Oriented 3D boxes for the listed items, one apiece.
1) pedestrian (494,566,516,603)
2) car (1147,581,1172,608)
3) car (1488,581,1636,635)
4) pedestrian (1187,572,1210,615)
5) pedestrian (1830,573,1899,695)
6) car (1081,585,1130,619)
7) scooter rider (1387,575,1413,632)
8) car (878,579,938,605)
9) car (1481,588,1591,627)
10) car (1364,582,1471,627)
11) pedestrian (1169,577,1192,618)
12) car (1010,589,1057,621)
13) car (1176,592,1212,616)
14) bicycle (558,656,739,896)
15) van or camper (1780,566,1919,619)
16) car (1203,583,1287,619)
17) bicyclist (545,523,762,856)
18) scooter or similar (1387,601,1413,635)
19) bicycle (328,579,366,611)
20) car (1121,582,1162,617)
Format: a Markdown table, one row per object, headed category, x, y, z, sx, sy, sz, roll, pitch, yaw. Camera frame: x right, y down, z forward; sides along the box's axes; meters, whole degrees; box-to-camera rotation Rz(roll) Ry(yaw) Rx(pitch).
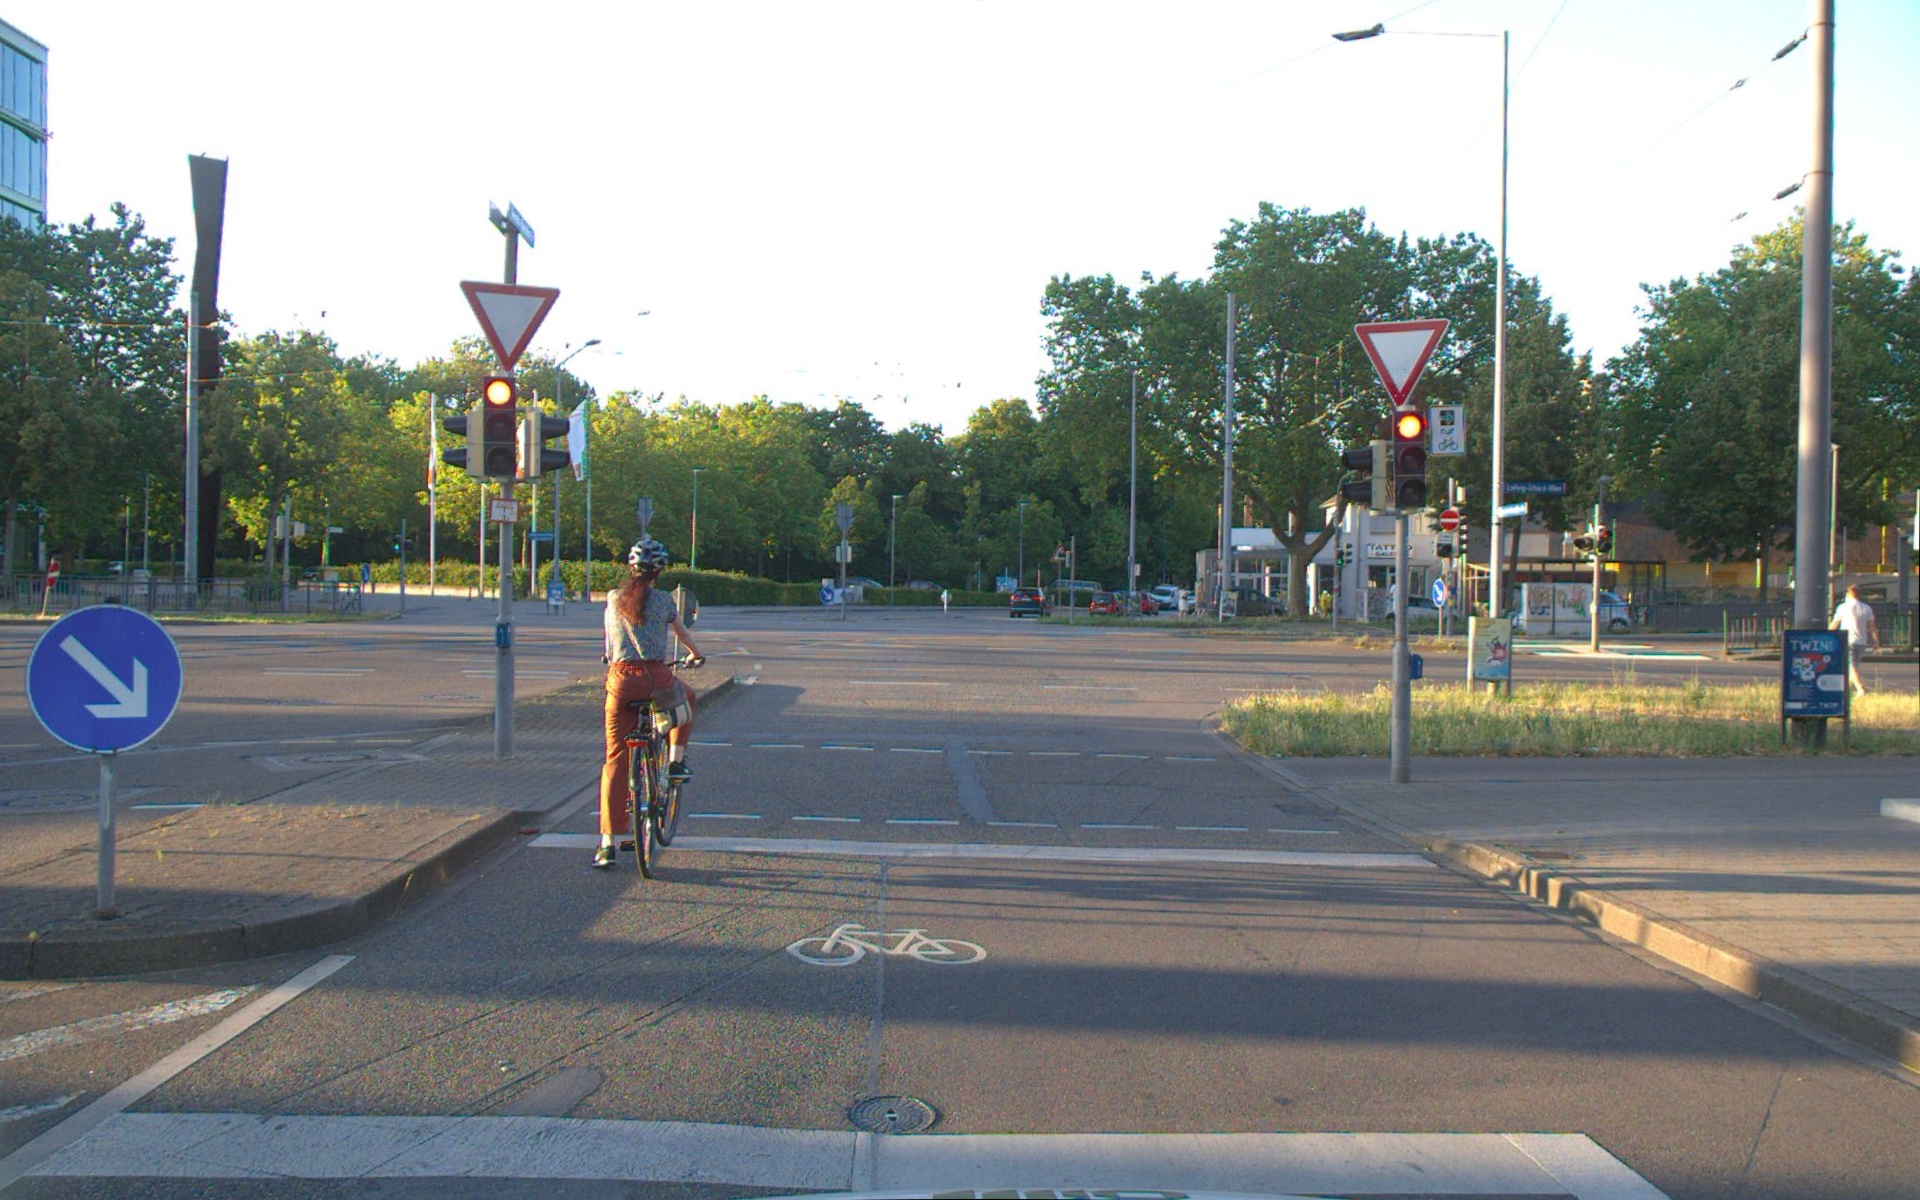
| category | x | y | z | sx | sy | sz | roll | pitch | yaw |
| --- | --- | --- | --- | --- | --- | --- | --- | --- | --- |
| pedestrian | -22.526 | -0.769 | 81.879 | 0.884 | 1.785 | 0.715 | 1 | 0 | -26 |
| car | 15.820 | -0.447 | 131.424 | 1.951 | 2.049 | 4.003 | 1 | 1 | 6 |
| car | 20.813 | 0.259 | 57.240 | 4.445 | 1.758 | 1.860 | 1 | 0 | -5 |
| pedestrian | 9.808 | -0.272 | 68.115 | 0.704 | 1.785 | 0.897 | 1 | 0 | 23 |
| pedestrian | 13.817 | 0.508 | 25.277 | 0.745 | 1.822 | 0.802 | 1 | 0 | 17 |
| car | 8.452 | 0.098 | 95.830 | 1.829 | 1.907 | 3.875 | 1 | 1 | 20 |
| scooter rider | 14.720 | 0.119 | 55.345 | 0.688 | 1.887 | 0.669 | 1 | -1 | -1 |
| car | -3.427 | -0.533 | 109.473 | 3.905 | 1.588 | 2.000 | 1 | 0 | 1 |
| car | 25.332 | 0.318 | 72.795 | 4.142 | 1.605 | 2.001 | 1 | 0 | 2 |
| car | 20.093 | 0.176 | 72.781 | 4.142 | 1.878 | 2.001 | 1 | 0 | 2 |
| pedestrian | 9.126 | -0.090 | 68.461 | 0.704 | 1.667 | 0.897 | 1 | 0 | 23 |
| car | 3.874 | 0.283 | 86.839 | 1.718 | 1.568 | 4.404 | 1 | -1 | 12 |
| car | 16.412 | 0.272 | 115.733 | 1.875 | 1.630 | 4.002 | 1 | 1 | 17 |
| bicycle | -1.681 | 0.906 | 9.221 | 0.621 | 1.086 | 2.122 | 1 | 1 | -1 |
| van or camper | 43.653 | -0.340 | 80.385 | 6.426 | 2.452 | 2.265 | 1 | 0 | 3 |
| car | 15.321 | 0.035 | 89.199 | 4.285 | 1.867 | 1.950 | 1 | 1 | 4 |
| bicyclist | -1.678 | 0.470 | 9.235 | 1.011 | 1.748 | 0.996 | 1 | 0 | -1 |
| scooter or similar | 14.717 | 0.592 | 55.376 | 0.499 | 1.109 | 1.243 | 1 | 0 | -1 |
| bicycle | -23.120 | -0.211 | 62.408 | 0.685 | 1.156 | 2.391 | 1 | 1 | -3 |
| car | 11.379 | -0.035 | 103.490 | 1.875 | 2.083 | 4.002 | 1 | 1 | 17 |
